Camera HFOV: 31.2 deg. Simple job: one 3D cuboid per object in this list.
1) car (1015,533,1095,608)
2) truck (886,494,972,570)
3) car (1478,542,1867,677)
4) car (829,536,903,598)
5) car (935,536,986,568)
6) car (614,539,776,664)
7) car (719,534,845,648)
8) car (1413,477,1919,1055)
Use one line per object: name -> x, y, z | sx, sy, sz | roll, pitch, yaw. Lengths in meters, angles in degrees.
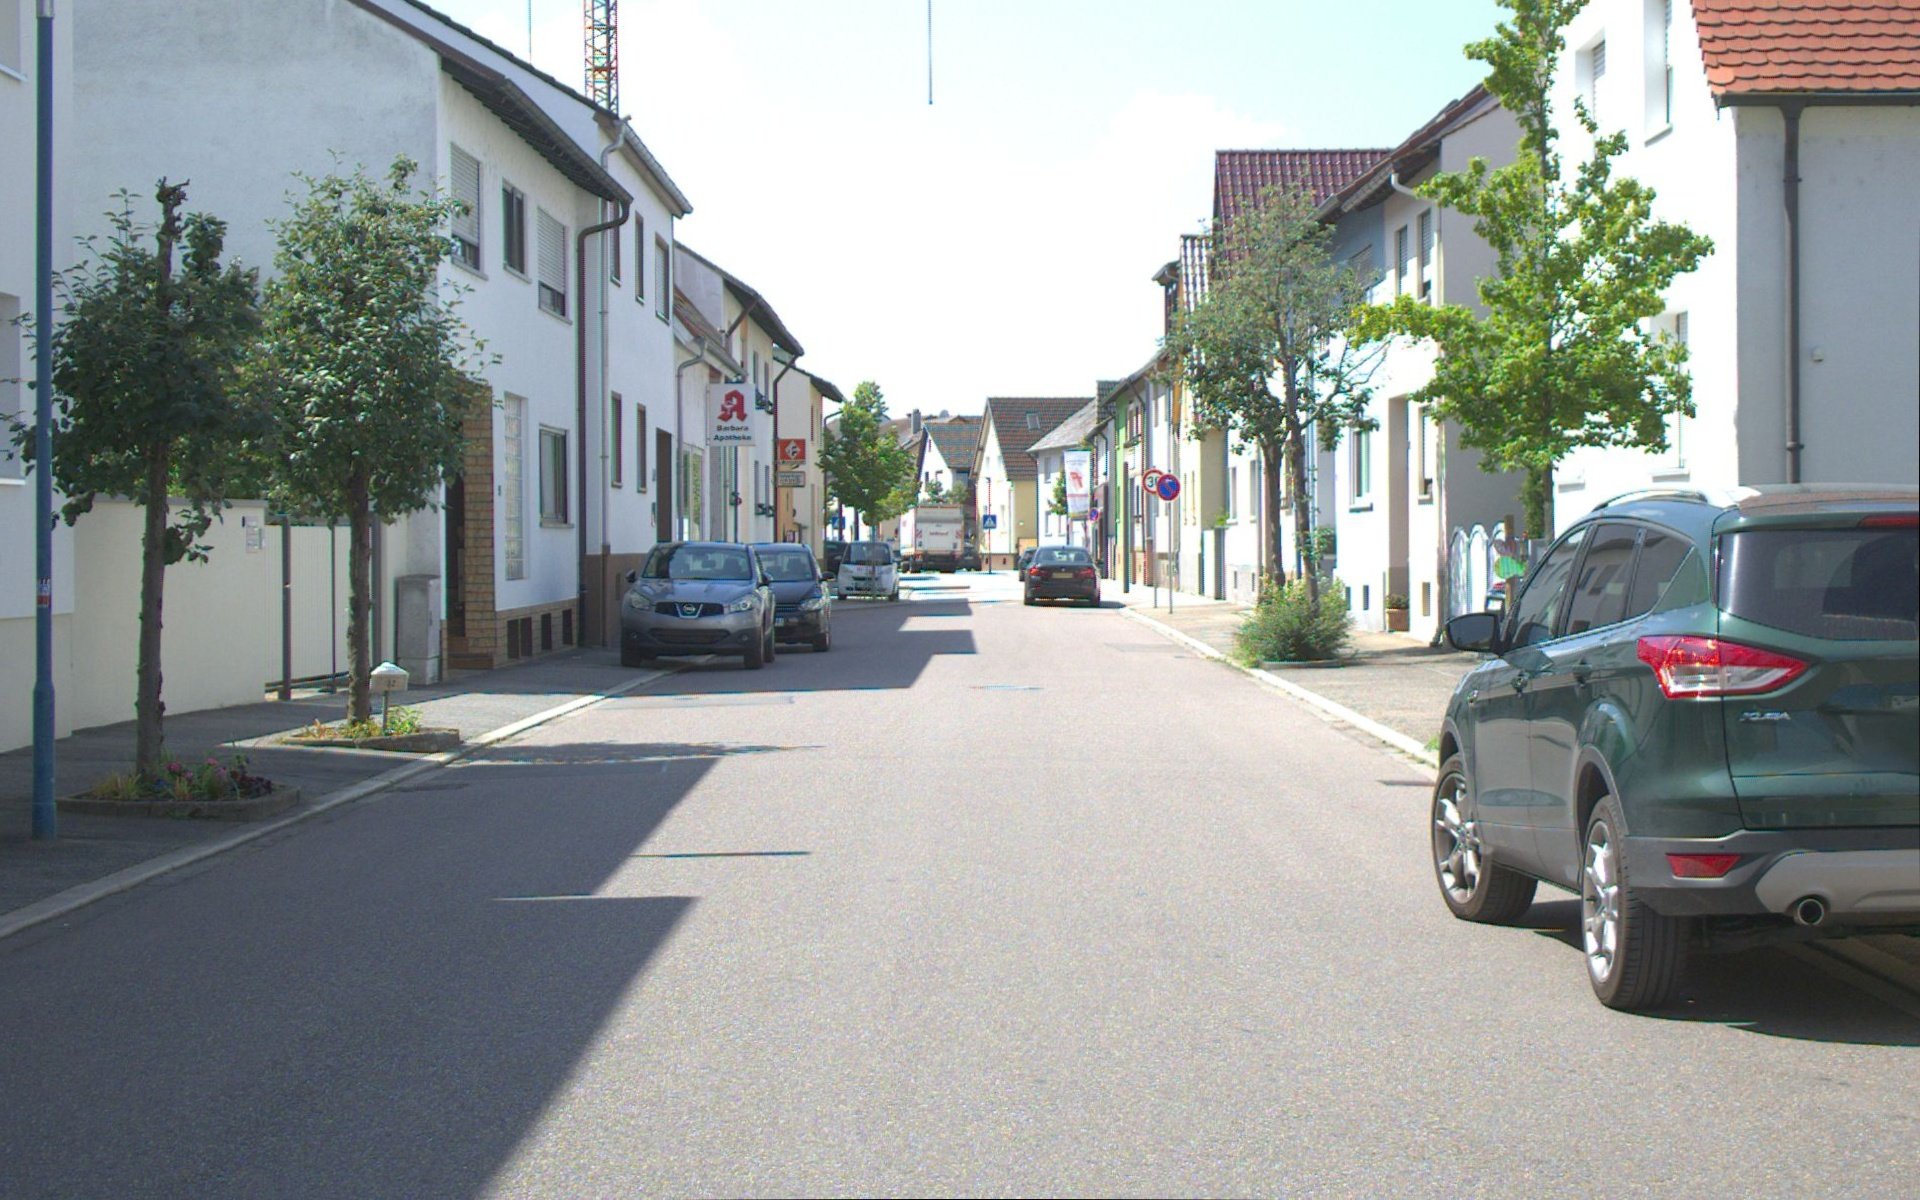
car -> 2.295, -0.732, 84.229 | 1.783, 1.747, 4.000 | -1, 1, -1
truck -> -1.731, -3.550, 182.641 | 3.378, 3.852, 13.929 | -1, 1, -5
car -> 7.774, 0.089, 37.746 | 3.922, 1.410, 1.740 | 0, 1, 2
car -> -2.433, -0.892, 90.051 | 1.723, 1.550, 4.172 | 1, 1, 1
car -> 0.034, -2.760, 197.289 | 1.782, 1.747, 4.230 | -1, 1, -16
car -> -3.368, -0.019, 44.326 | 1.758, 1.519, 4.289 | 0, 1, 0
car -> -2.586, -0.163, 50.753 | 1.653, 1.603, 4.061 | 0, 1, 0
car -> 2.830, 0.452, 12.332 | 1.728, 1.711, 4.276 | 0, 1, -2
